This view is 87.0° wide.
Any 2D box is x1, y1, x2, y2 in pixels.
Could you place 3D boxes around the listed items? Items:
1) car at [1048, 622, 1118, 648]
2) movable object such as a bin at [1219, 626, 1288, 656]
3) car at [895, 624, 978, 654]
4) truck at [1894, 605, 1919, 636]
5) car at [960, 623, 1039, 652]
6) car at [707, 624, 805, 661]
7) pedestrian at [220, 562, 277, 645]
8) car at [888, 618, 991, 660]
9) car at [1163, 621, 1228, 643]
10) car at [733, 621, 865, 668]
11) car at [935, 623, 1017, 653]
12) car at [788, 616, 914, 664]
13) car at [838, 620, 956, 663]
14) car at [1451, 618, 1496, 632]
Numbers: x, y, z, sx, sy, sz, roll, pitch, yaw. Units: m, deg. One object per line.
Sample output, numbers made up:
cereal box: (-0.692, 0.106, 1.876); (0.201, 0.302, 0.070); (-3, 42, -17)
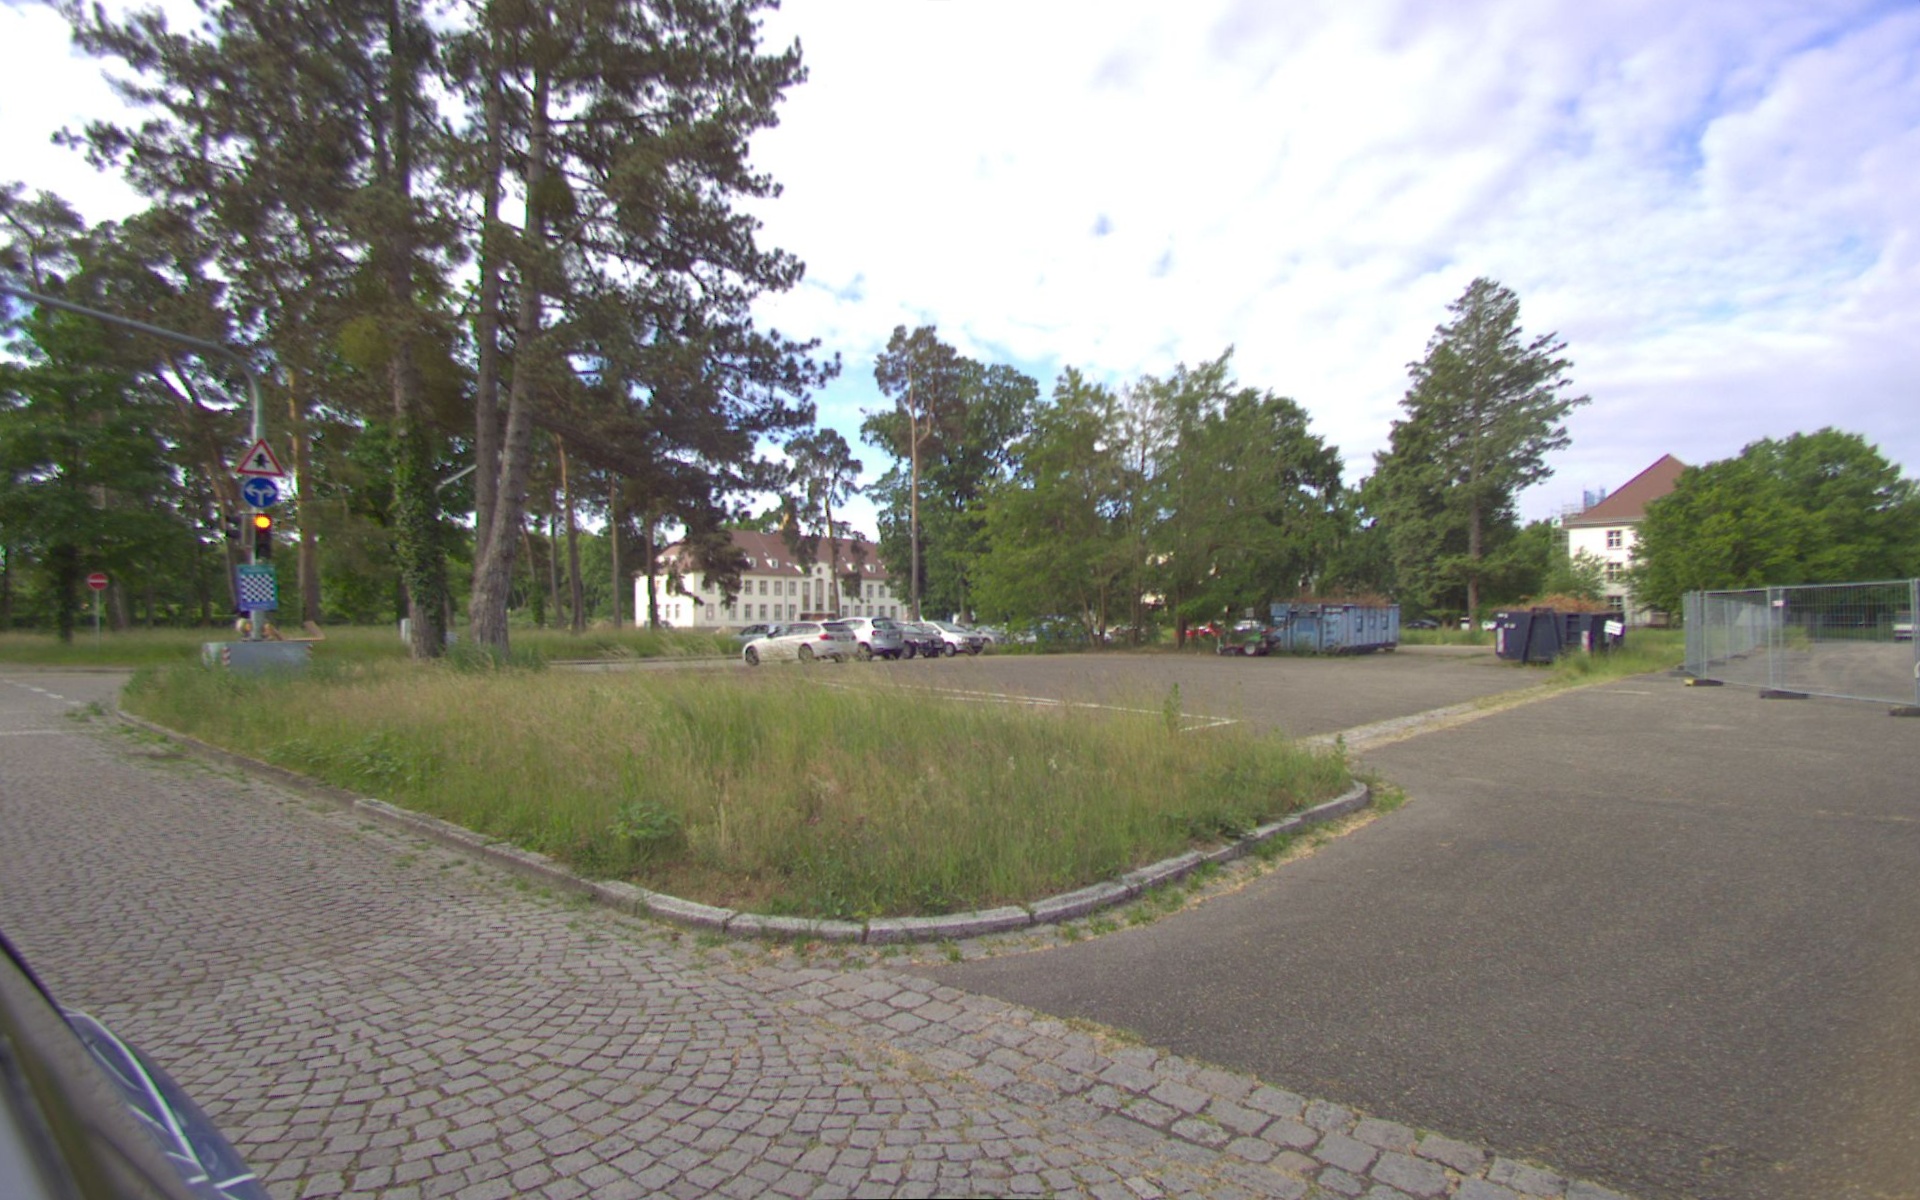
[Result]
car: (8.090, 2.306, 66.734); (4.283, 1.533, 1.727); (-4, -3, 39)
movable object such as a bin: (9.610, 1.337, 33.137); (1.931, 0.940, 1.029); (-2, -3, 35)
car: (-1.353, 2.218, 56.944); (4.579, 1.533, 1.817); (-4, -3, 39)
truck: (70.035, 1.487, 73.913); (2.373, 2.215, 6.466); (-2, -2, 41)
car: (2.367, 2.269, 61.247); (4.579, 1.586, 1.817); (-4, -3, 39)
car: (-9.578, 1.982, 47.435); (4.572, 1.559, 1.820); (-4, -3, 34)
pedestrian: (-13.631, 0.077, 19.418); (0.869, 1.529, 0.824); (0, -2, -34)
car: (-0.878, 1.607, 41.030); (4.112, 1.533, 1.714); (-4, -3, 42)
car: (18.434, 2.513, 79.383); (4.579, 1.533, 1.817); (-4, -3, 39)
car: (-5.556, 1.534, 34.613); (4.650, 1.461, 1.817); (-4, -3, 39)
car: (0.871, 2.219, 58.593); (4.579, 1.571, 1.817); (-4, -3, 39)
car: (-4.007, 1.464, 36.686); (4.579, 1.590, 1.817); (-4, -3, 39)
car: (-2.452, 1.605, 38.800); (4.583, 1.480, 1.815); (-4, -3, 42)
car: (62.745, 3.098, 123.656); (4.580, 1.645, 1.817); (-2, -2, 39)
